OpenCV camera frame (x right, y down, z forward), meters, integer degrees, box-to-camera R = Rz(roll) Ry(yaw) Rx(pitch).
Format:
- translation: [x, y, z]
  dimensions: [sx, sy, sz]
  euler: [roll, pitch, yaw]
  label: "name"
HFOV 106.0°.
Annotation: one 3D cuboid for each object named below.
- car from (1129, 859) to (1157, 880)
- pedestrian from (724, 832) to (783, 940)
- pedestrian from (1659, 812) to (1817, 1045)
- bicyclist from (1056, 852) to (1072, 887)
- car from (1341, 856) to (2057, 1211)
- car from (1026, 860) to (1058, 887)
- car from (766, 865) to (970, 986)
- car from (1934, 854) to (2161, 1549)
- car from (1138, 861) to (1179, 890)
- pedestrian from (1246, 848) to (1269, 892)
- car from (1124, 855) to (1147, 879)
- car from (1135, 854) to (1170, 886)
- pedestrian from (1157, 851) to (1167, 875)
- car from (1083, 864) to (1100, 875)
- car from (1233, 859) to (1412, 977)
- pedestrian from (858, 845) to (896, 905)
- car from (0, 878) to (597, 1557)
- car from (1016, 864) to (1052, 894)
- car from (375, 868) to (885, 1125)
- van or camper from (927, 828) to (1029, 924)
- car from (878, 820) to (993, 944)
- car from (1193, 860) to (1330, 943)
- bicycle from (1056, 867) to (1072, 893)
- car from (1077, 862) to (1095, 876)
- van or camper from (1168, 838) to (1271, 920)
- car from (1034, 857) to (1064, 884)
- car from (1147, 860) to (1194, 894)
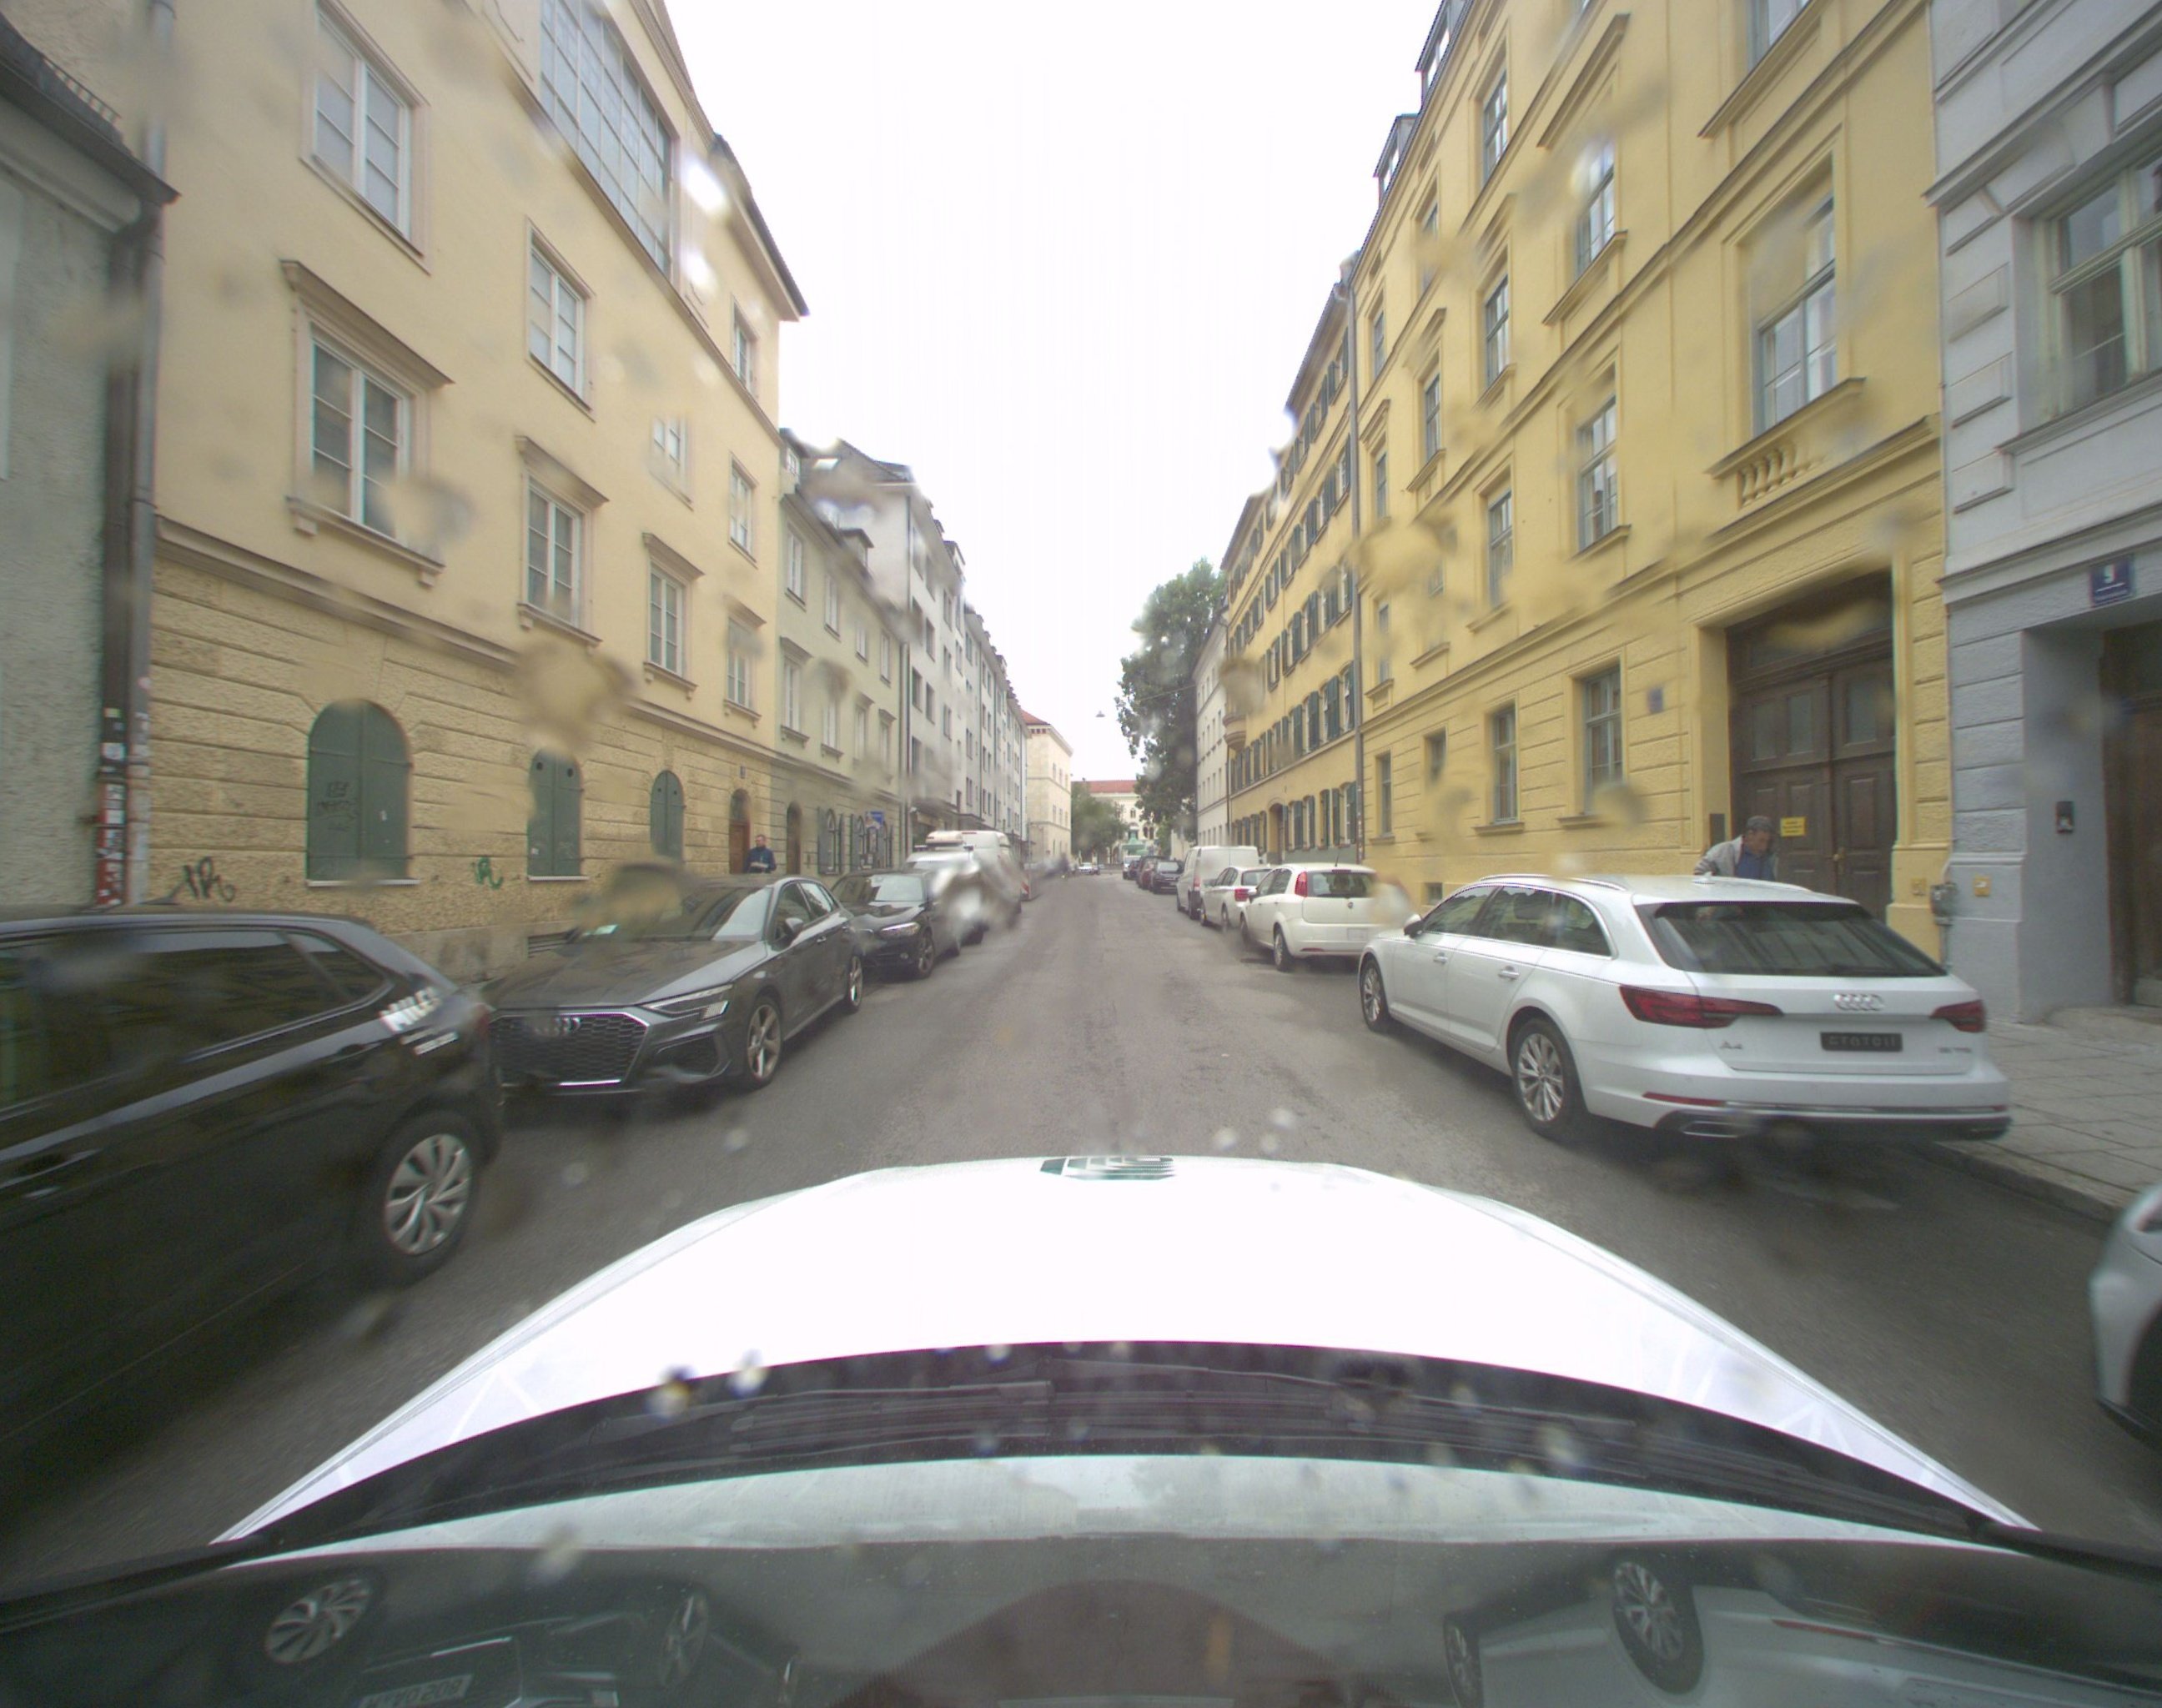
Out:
- translation: [4.785, 1.205, 63.398]
  dimensions: [1.802, 1.600, 4.213]
  euler: [1, -1, -1]
  label: "car"
- translation: [-6.222, 0.594, 15.509]
  dimensions: [0.802, 2.014, 0.750]
  euler: [0, -1, 2]
  label: "pedestrian"
- translation: [5.551, 0.600, 6.928]
  dimensions: [0.699, 1.862, 0.804]
  euler: [0, -1, -1]
  label: "pedestrian"
- translation: [-0.784, 0.724, 37.823]
  dimensions: [0.684, 1.627, 0.853]
  euler: [1, -1, 0]
  label: "bicyclist"
- translation: [3.363, 0.784, 5.730]
  dimensions: [1.711, 1.510, 4.469]
  euler: [0, 0, 1]
  label: "car"
- translation: [-2.385, 1.186, 50.648]
  dimensions: [1.767, 1.539, 4.159]
  euler: [-2, 0, 0]
  label: "car"
- translation: [-2.822, 0.883, 11.833]
  dimensions: [1.852, 1.401, 4.268]
  euler: [1, -1, -1]
  label: "car"
- translation: [3.265, 0.739, 0.294]
  dimensions: [1.713, 1.510, 3.932]
  euler: [0, 0, -3]
  label: "car"
- translation: [3.981, 1.078, 42.441]
  dimensions: [1.708, 1.424, 4.456]
  euler: [0, -1, 0]
  label: "car"
- translation: [6.738, 0.611, 31.147]
  dimensions: [0.595, 1.639, 0.896]
  euler: [-3, 0, -1]
  label: "pedestrian"
- translation: [4.594, 1.115, 69.398]
  dimensions: [1.874, 1.924, 4.878]
  euler: [0, -1, 3]
  label: "car"
- translation: [4.267, 0.987, 49.144]
  dimensions: [1.839, 1.776, 4.202]
  euler: [2, -1, 2]
  label: "car"
- translation: [7.350, 0.804, 73.650]
  dimensions: [0.790, 2.198, 0.813]
  euler: [1, -1, 0]
  label: "pedestrian"
- translation: [1.403, 2.053, 105.083]
  dimensions: [1.689, 1.393, 4.219]
  euler: [-2, -2, 7]
  label: "car"
- translation: [3.477, 0.840, 12.415]
  dimensions: [1.618, 1.510, 3.761]
  euler: [0, 0, 0]
  label: "car"
- translation: [-5.947, 0.606, 23.788]
  dimensions: [0.802, 1.712, 1.022]
  euler: [0, 0, 2]
  label: "pedestrian"
- translation: [-3.259, 0.811, 1.873]
  dimensions: [1.853, 1.401, 4.265]
  euler: [1, -1, -3]
  label: "car"
- translation: [-2.379, 1.216, 40.424]
  dimensions: [1.636, 1.354, 4.051]
  euler: [-2, 0, -5]
  label: "car"
- translation: [-3.056, 0.850, 6.749]
  dimensions: [1.852, 1.401, 4.268]
  euler: [1, -1, -1]
  label: "car"
- translation: [-2.667, 0.538, 22.374]
  dimensions: [1.986, 2.311, 5.479]
  euler: [0, 0, 1]
  label: "van or camper"
- translation: [-2.837, 0.524, 16.791]
  dimensions: [1.854, 2.201, 4.554]
  euler: [1, -1, -5]
  label: "car"
- translation: [3.630, 0.880, 17.233]
  dimensions: [1.810, 1.510, 4.585]
  euler: [0, 0, -1]
  label: "car"
- translation: [-0.776, 1.199, 37.718]
  dimensions: [0.730, 1.151, 1.999]
  euler: [0, -1, 0]
  label: "bicycle"
- translation: [0.583, 1.852, 98.713]
  dimensions: [1.769, 1.535, 4.217]
  euler: [-2, -2, 5]
  label: "car"
- translation: [3.670, 0.624, 22.573]
  dimensions: [1.987, 2.014, 5.232]
  euler: [0, 0, 0]
  label: "van or camper"
- translation: [-2.172, 1.108, 56.301]
  dimensions: [1.866, 1.688, 4.520]
  euler: [-2, 0, 0]
  label: "car"
- translation: [4.015, 1.009, 37.038]
  dimensions: [1.739, 1.464, 4.001]
  euler: [0, 0, 1]
  label: "car"
